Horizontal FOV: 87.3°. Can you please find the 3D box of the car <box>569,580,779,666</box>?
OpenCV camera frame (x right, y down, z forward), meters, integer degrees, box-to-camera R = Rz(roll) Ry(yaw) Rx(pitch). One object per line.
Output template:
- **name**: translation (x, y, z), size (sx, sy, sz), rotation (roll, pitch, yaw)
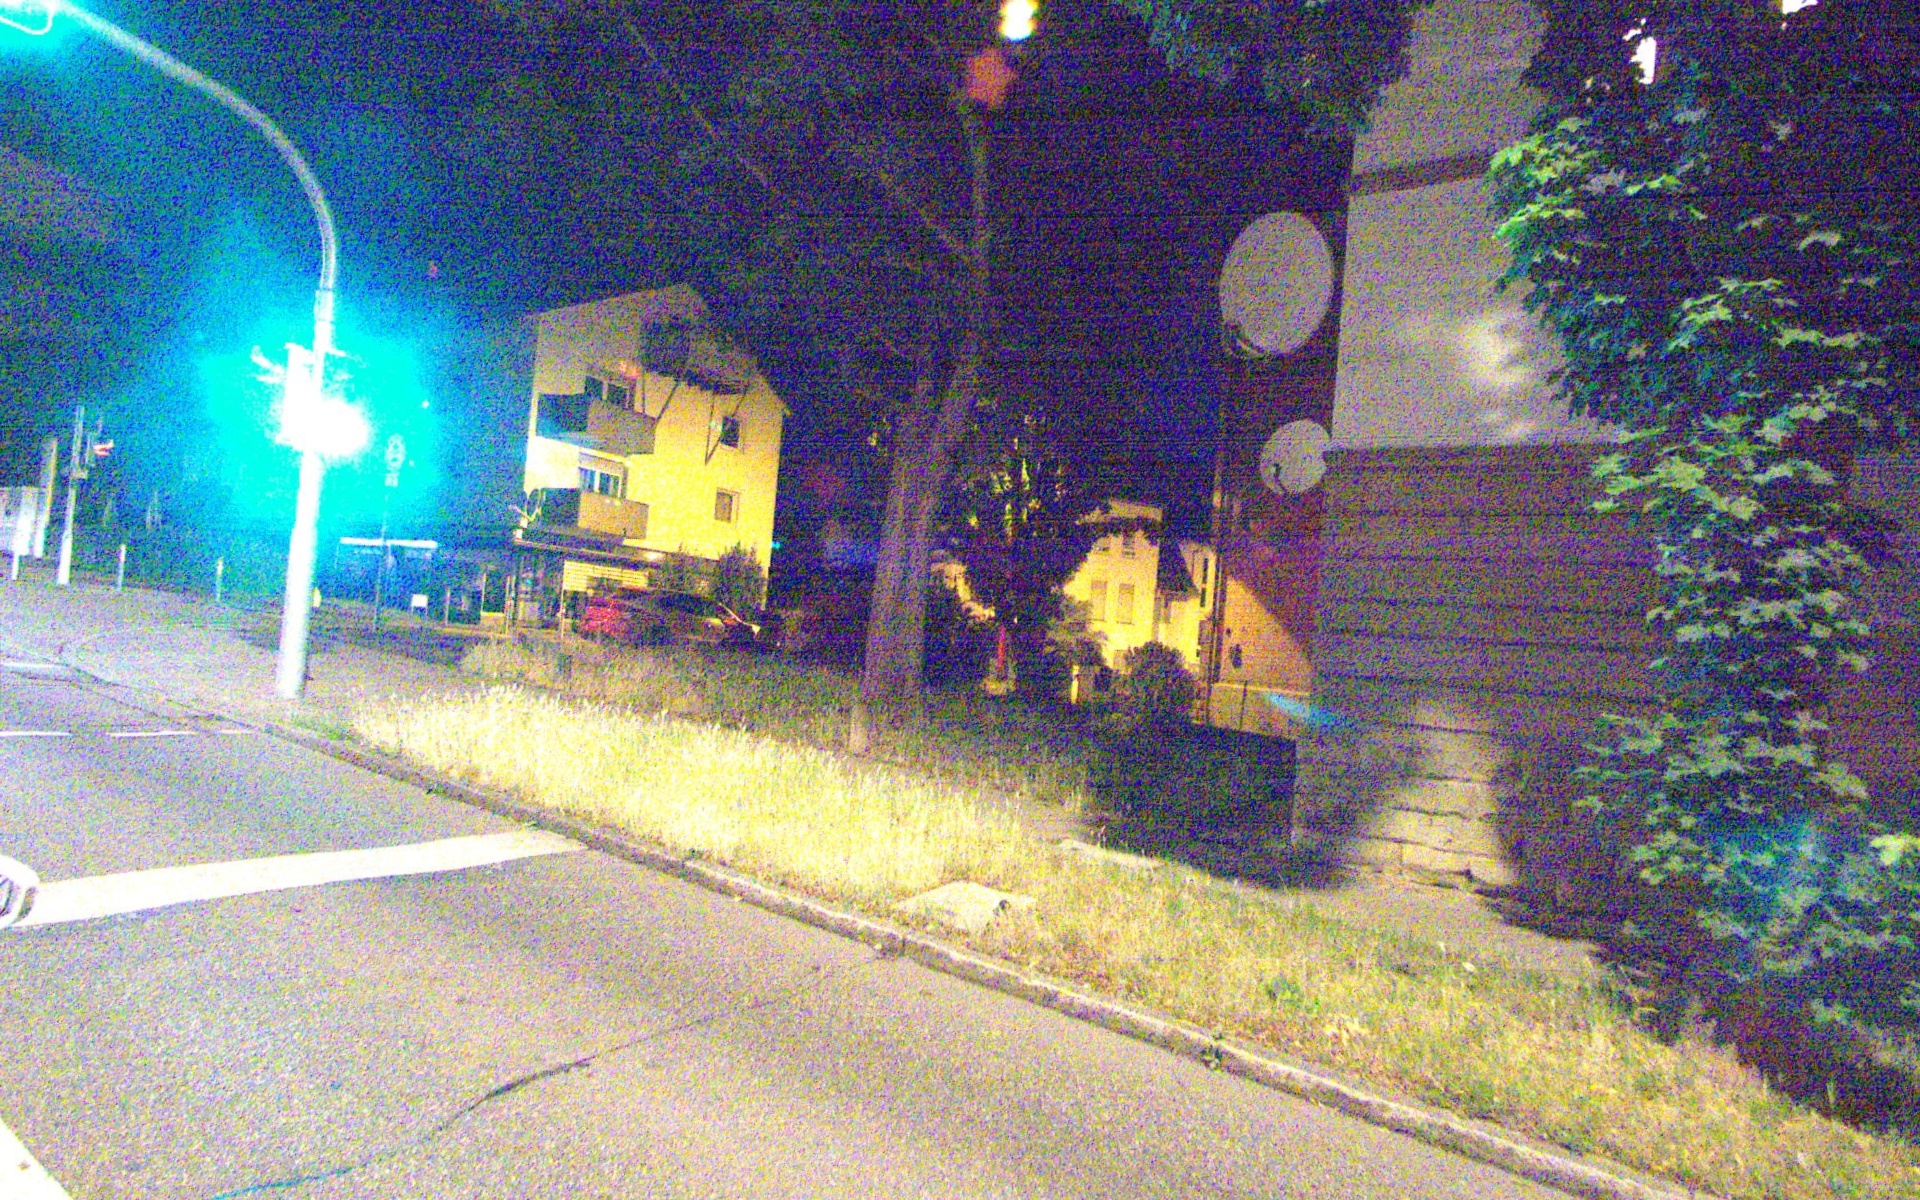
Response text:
- **car**: translation (-6.503, 0.584, 23.288), size (1.778, 1.577, 4.366), rotation (3, -3, 38)
